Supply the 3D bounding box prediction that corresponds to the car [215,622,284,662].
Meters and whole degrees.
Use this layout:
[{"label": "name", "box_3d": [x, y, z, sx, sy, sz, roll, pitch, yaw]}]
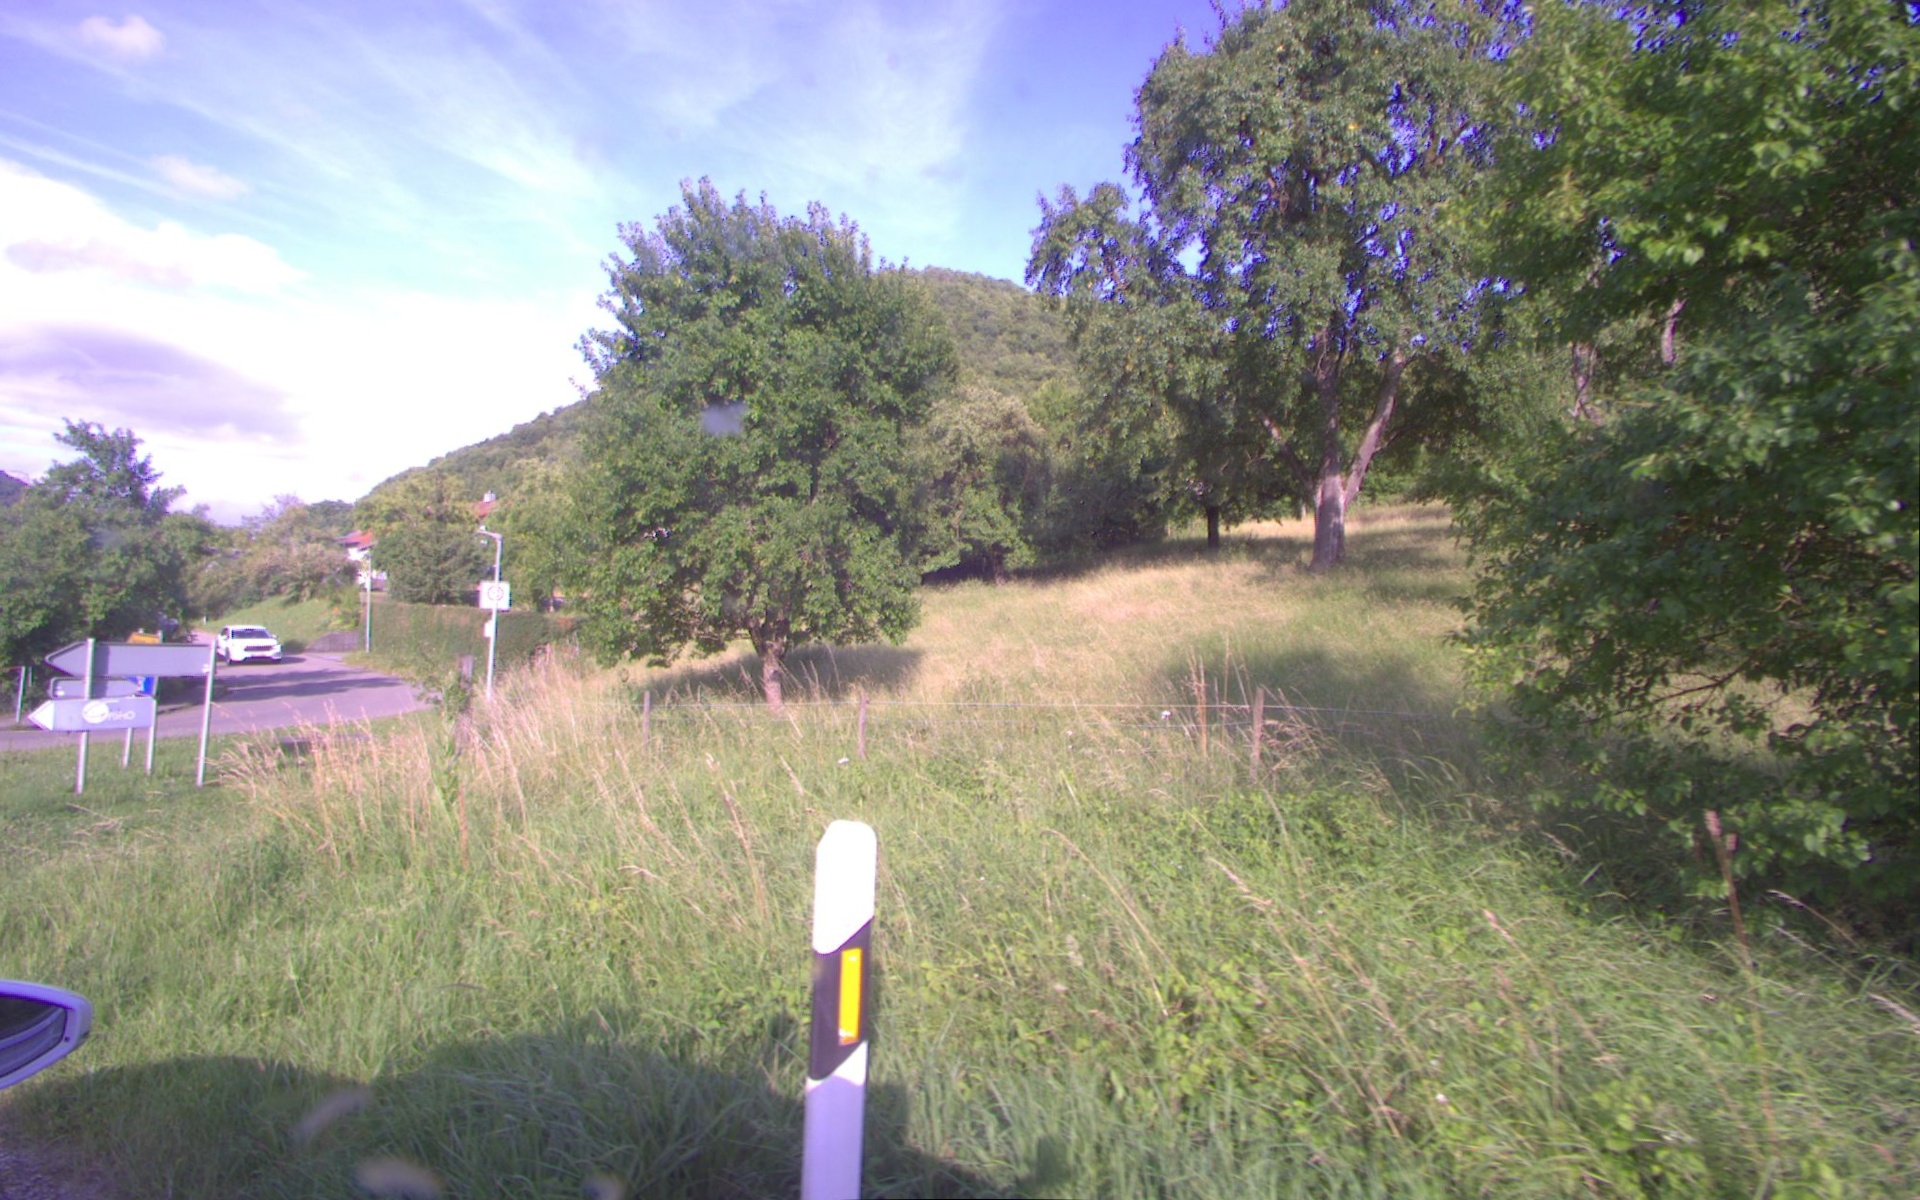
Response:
[{"label": "car", "box_3d": [-30.992, 1.812, 43.630, 1.856, 1.631, 4.527, 2, -2, -43]}]
